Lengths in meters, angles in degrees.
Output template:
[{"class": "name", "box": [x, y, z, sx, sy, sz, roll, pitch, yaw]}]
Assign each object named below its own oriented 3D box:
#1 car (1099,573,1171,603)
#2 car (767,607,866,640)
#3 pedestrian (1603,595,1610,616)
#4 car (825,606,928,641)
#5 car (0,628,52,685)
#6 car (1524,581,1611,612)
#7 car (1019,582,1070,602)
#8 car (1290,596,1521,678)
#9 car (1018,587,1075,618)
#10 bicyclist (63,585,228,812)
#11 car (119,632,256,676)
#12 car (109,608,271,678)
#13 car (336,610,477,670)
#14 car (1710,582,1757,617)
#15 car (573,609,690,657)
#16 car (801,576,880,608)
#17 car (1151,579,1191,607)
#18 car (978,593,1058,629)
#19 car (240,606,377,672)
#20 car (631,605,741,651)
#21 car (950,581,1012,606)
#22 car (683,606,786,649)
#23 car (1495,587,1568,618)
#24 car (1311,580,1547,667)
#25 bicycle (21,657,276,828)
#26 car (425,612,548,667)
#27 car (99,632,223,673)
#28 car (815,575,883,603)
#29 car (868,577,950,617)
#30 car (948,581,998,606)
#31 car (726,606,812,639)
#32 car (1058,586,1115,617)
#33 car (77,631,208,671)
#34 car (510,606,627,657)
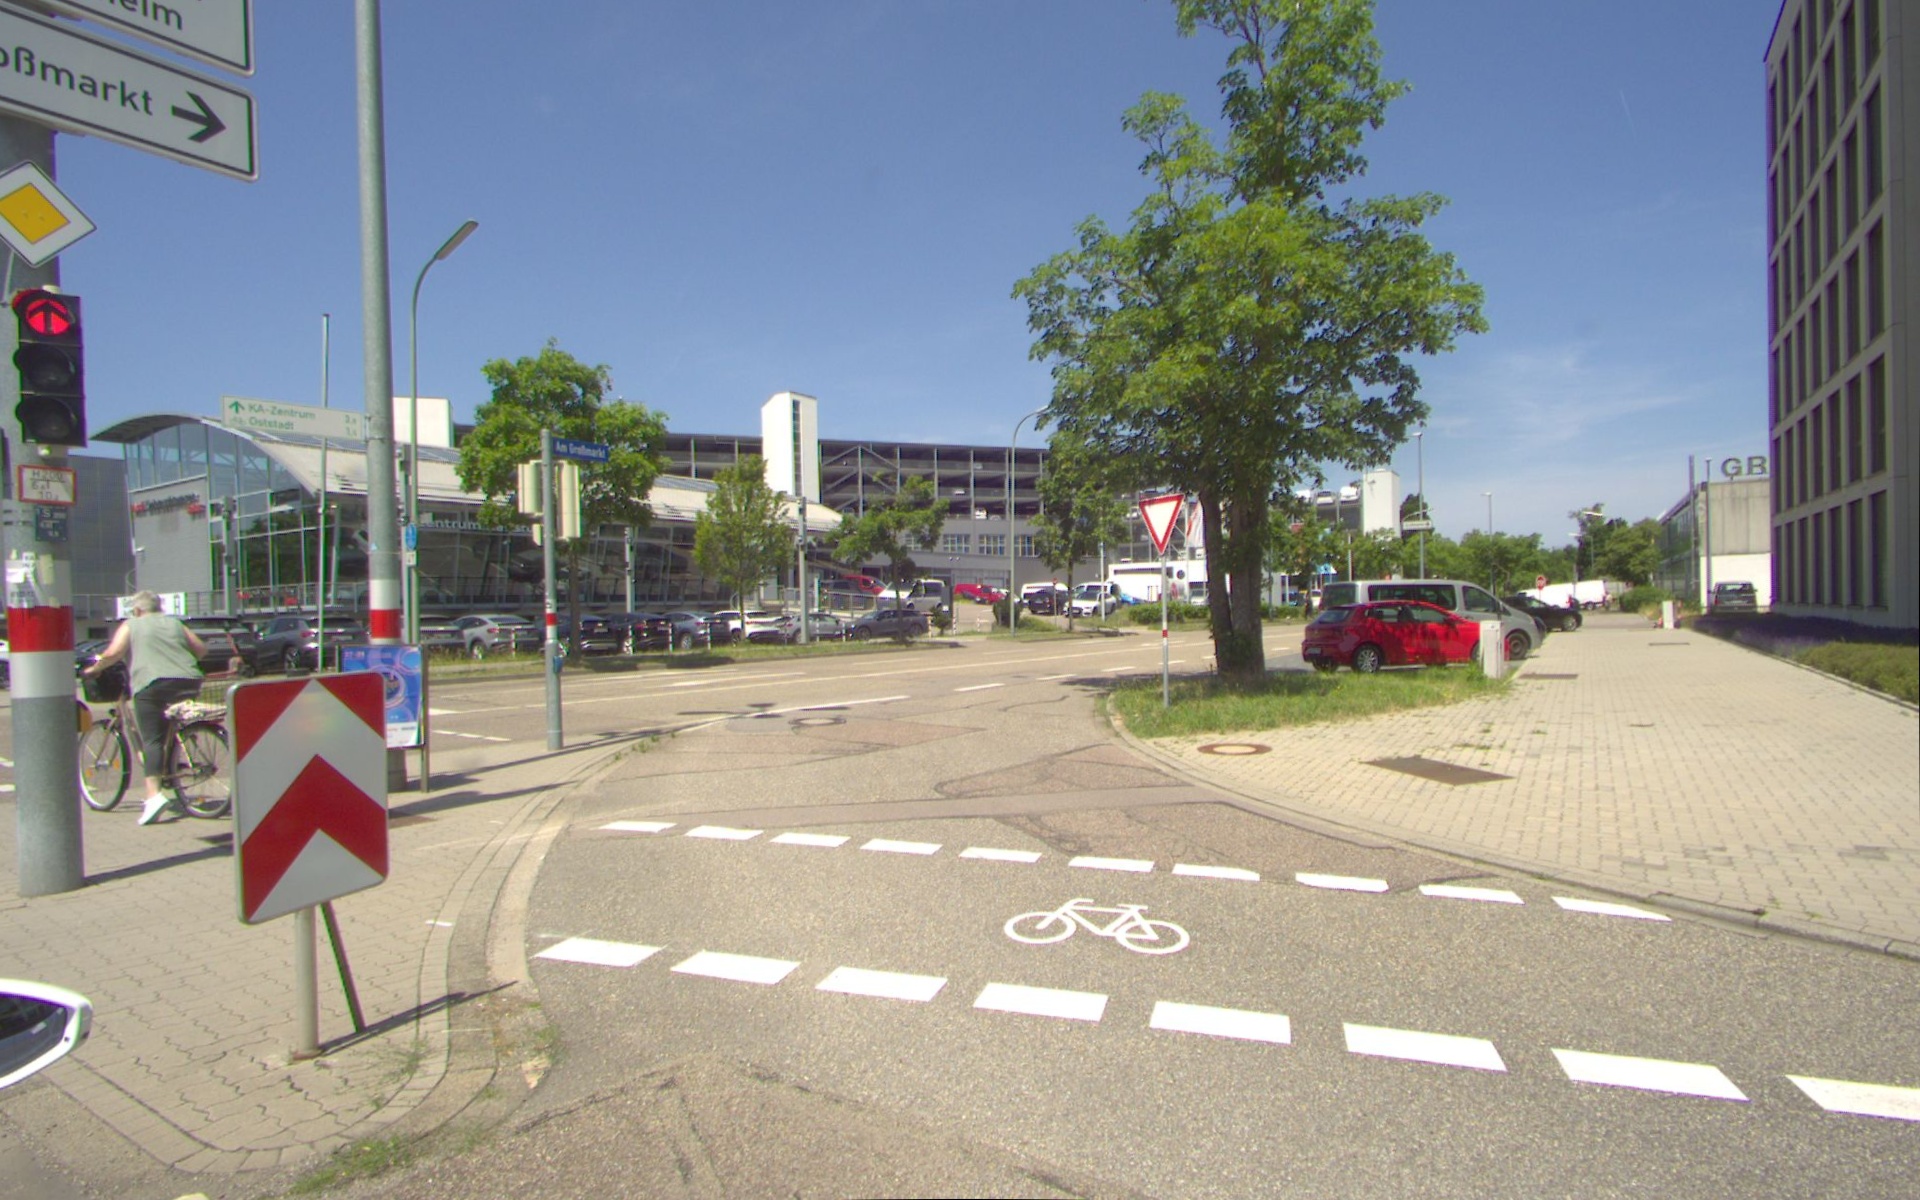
[{"class": "car", "box": [12.003, -0.779, 68.868, 4.521, 1.912, 1.904, -1, 0, 31]}, {"class": "car", "box": [-7.099, 1.159, 49.716, 4.527, 1.491, 1.902, -1, 0, -34]}, {"class": "pedestrian", "box": [48.625, 0.400, 75.298, 0.399, 1.580, 0.546, -1, 1, 33]}, {"class": "car", "box": [-3.942, 1.087, 47.696, 4.554, 1.491, 1.839, -2, 1, -34]}, {"class": "car", "box": [-25.167, 1.361, 24.110, 1.843, 1.407, 4.583, -2, -3, 34]}, {"class": "car", "box": [54.694, -0.274, 90.263, 6.606, 2.552, 2.206, -1, -2, 35]}, {"class": "car", "box": [7.790, -0.717, 92.294, 4.294, 1.674, 1.904, -1, 0, 31]}, {"class": "car", "box": [8.920, 0.727, 20.193, 3.923, 1.451, 1.699, -2, -1, -7]}, {"class": "car", "box": [5.331, 0.179, 61.167, 1.970, 1.727, 3.983, -1, -2, 30]}, {"class": "bicyclist", "box": [-6.174, 0.720, 7.605, 0.811, 1.626, 0.629, -1, -1, 19]}, {"class": "car", "box": [-30.549, 2.126, 39.730, 1.633, 1.642, 3.980, -1, -3, 32]}, {"class": "car", "box": [-19.531, 1.108, 25.358, 4.442, 1.578, 1.863, -3, 0, 33]}, {"class": "car", "box": [-16.542, 1.209, 29.929, 3.937, 1.675, 1.844, -1, -3, 28]}, {"class": "car", "box": [42.237, 0.018, 54.757, 1.772, 1.750, 3.978, -1, -2, 34]}, {"class": "car", "box": [-12.021, 1.230, 36.635, 3.937, 1.675, 1.844, -1, -3, 28]}, {"class": "car", "box": [-6.700, -0.428, 56.712, 1.888, 1.730, 4.560, -1, 0, 35]}, {"class": "car", "box": [16.373, -0.514, 77.622, 1.812, 2.039, 3.981, -1, -2, 31]}, {"class": "car", "box": [2.967, 0.554, 50.333, 1.888, 1.717, 4.560, -1, 0, 35]}, {"class": "car", "box": [-17.917, 1.082, 27.505, 3.946, 1.675, 1.840, -2, -3, 35]}, {"class": "car", "box": [-10.662, 1.124, 38.935, 3.937, 1.675, 1.844, -1, -3, 28]}, {"class": "car", "box": [1.649, -0.491, 78.023, 4.525, 1.821, 1.903, -1, 0, 34]}, {"class": "car", "box": [-9.280, 1.165, 41.180, 3.937, 1.675, 1.844, -1, -3, 28]}, {"class": "car", "box": [41.489, 0.213, 72.698, 4.513, 2.039, 1.990, -1, -2, 33]}, {"class": "car", "box": [10.908, 0.512, 23.386, 4.841, 1.911, 1.918, 0, 0, -12]}, {"class": "bicycle", "box": [-6.157, 1.031, 7.596, 1.861, 1.148, 0.629, 0, 0, 20]}, {"class": "car", "box": [-15.044, 1.201, 31.807, 3.758, 1.637, 1.635, 0, 0, 28]}, {"class": "car", "box": [-32.694, 2.134, 41.037, 1.619, 1.600, 3.642, -1, -3, 32]}, {"class": "car", "box": [-7.329, -0.713, 66.051, 4.082, 1.745, 1.907, -1, 0, 25]}, {"class": "car", "box": [-2.665, -0.160, 54.001, 1.885, 1.992, 5.228, -1, 0, 29]}, {"class": "car", "box": [0.982, -0.446, 74.539, 1.859, 1.728, 3.977, -1, -1, 33]}, {"class": "car", "box": [-9.847, 1.137, 51.651, 3.938, 1.591, 1.842, -1, 0, -28]}, {"class": "car", "box": [7.640, 0.139, 60.196, 1.970, 1.727, 3.983, -1, -2, 30]}, {"class": "car", "box": [-34.470, 2.161, 42.300, 1.610, 1.593, 3.977, -1, -3, 32]}, {"class": "car", "box": [-13.393, 1.080, 34.195, 3.851, 1.676, 1.627, -1, -1, 28]}]
